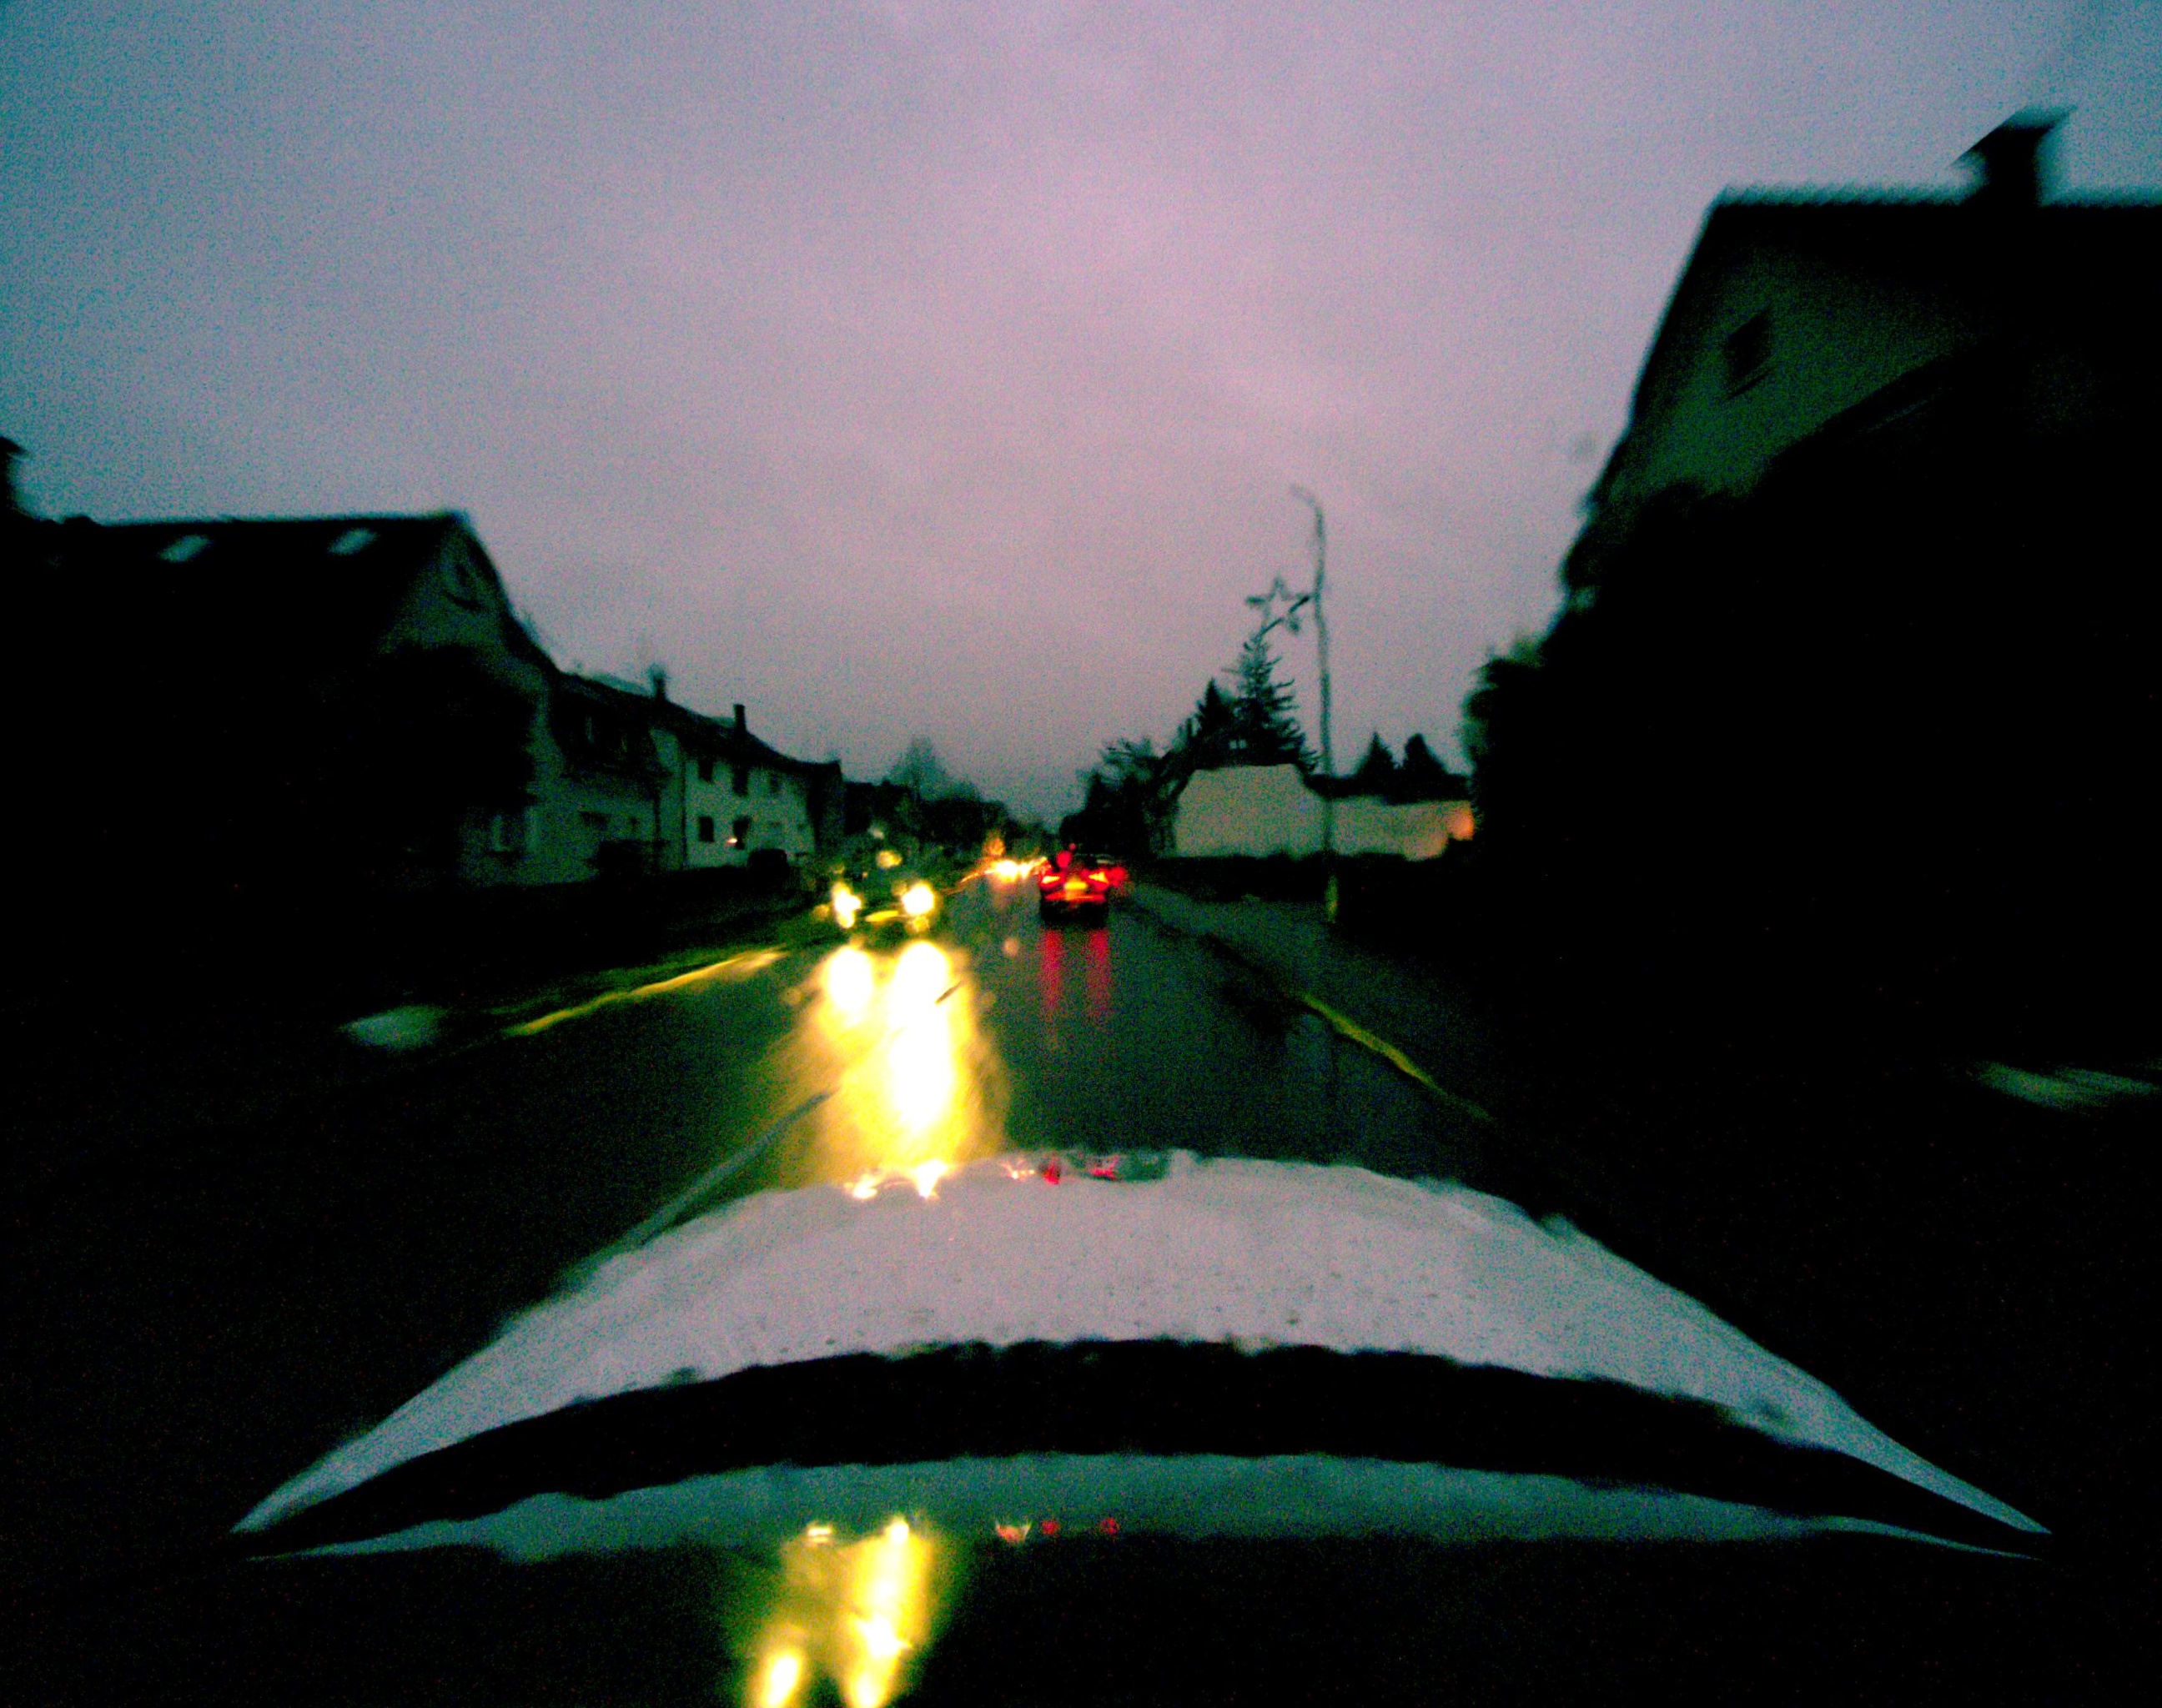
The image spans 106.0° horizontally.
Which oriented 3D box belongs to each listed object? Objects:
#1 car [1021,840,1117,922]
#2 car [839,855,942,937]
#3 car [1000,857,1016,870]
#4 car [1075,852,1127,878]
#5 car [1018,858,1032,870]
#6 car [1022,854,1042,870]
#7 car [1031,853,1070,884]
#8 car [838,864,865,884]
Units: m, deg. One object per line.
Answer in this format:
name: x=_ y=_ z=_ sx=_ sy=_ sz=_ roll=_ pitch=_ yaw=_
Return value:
car: x=-0.440 y=0.707 z=22.517 sx=2.304 sy=1.938 sz=5.011 roll=-2 pitch=-1 yaw=-3
car: x=-4.183 y=0.869 z=18.423 sx=1.822 sy=1.554 sz=3.989 roll=-3 pitch=0 yaw=-8
car: x=-9.671 y=1.209 z=107.851 sx=1.908 sy=1.522 sz=3.998 roll=-1 pitch=1 yaw=-2
car: x=1.685 y=0.888 z=68.750 sx=4.233 sy=2.013 sz=1.810 roll=-2 pitch=0 yaw=-1
car: x=-8.388 y=1.474 z=121.532 sx=1.908 sy=1.431 sz=3.998 roll=-1 pitch=2 yaw=-2
car: x=-6.108 y=1.006 z=101.061 sx=2.306 sy=1.938 sz=5.009 roll=-2 pitch=-1 yaw=-5
car: x=-1.801 y=0.789 z=46.870 sx=1.856 sy=1.647 sz=3.989 roll=-1 pitch=0 yaw=-8
car: x=-16.571 y=1.448 z=58.913 sx=1.780 sy=1.393 sz=3.980 roll=1 pitch=-1 yaw=-15
